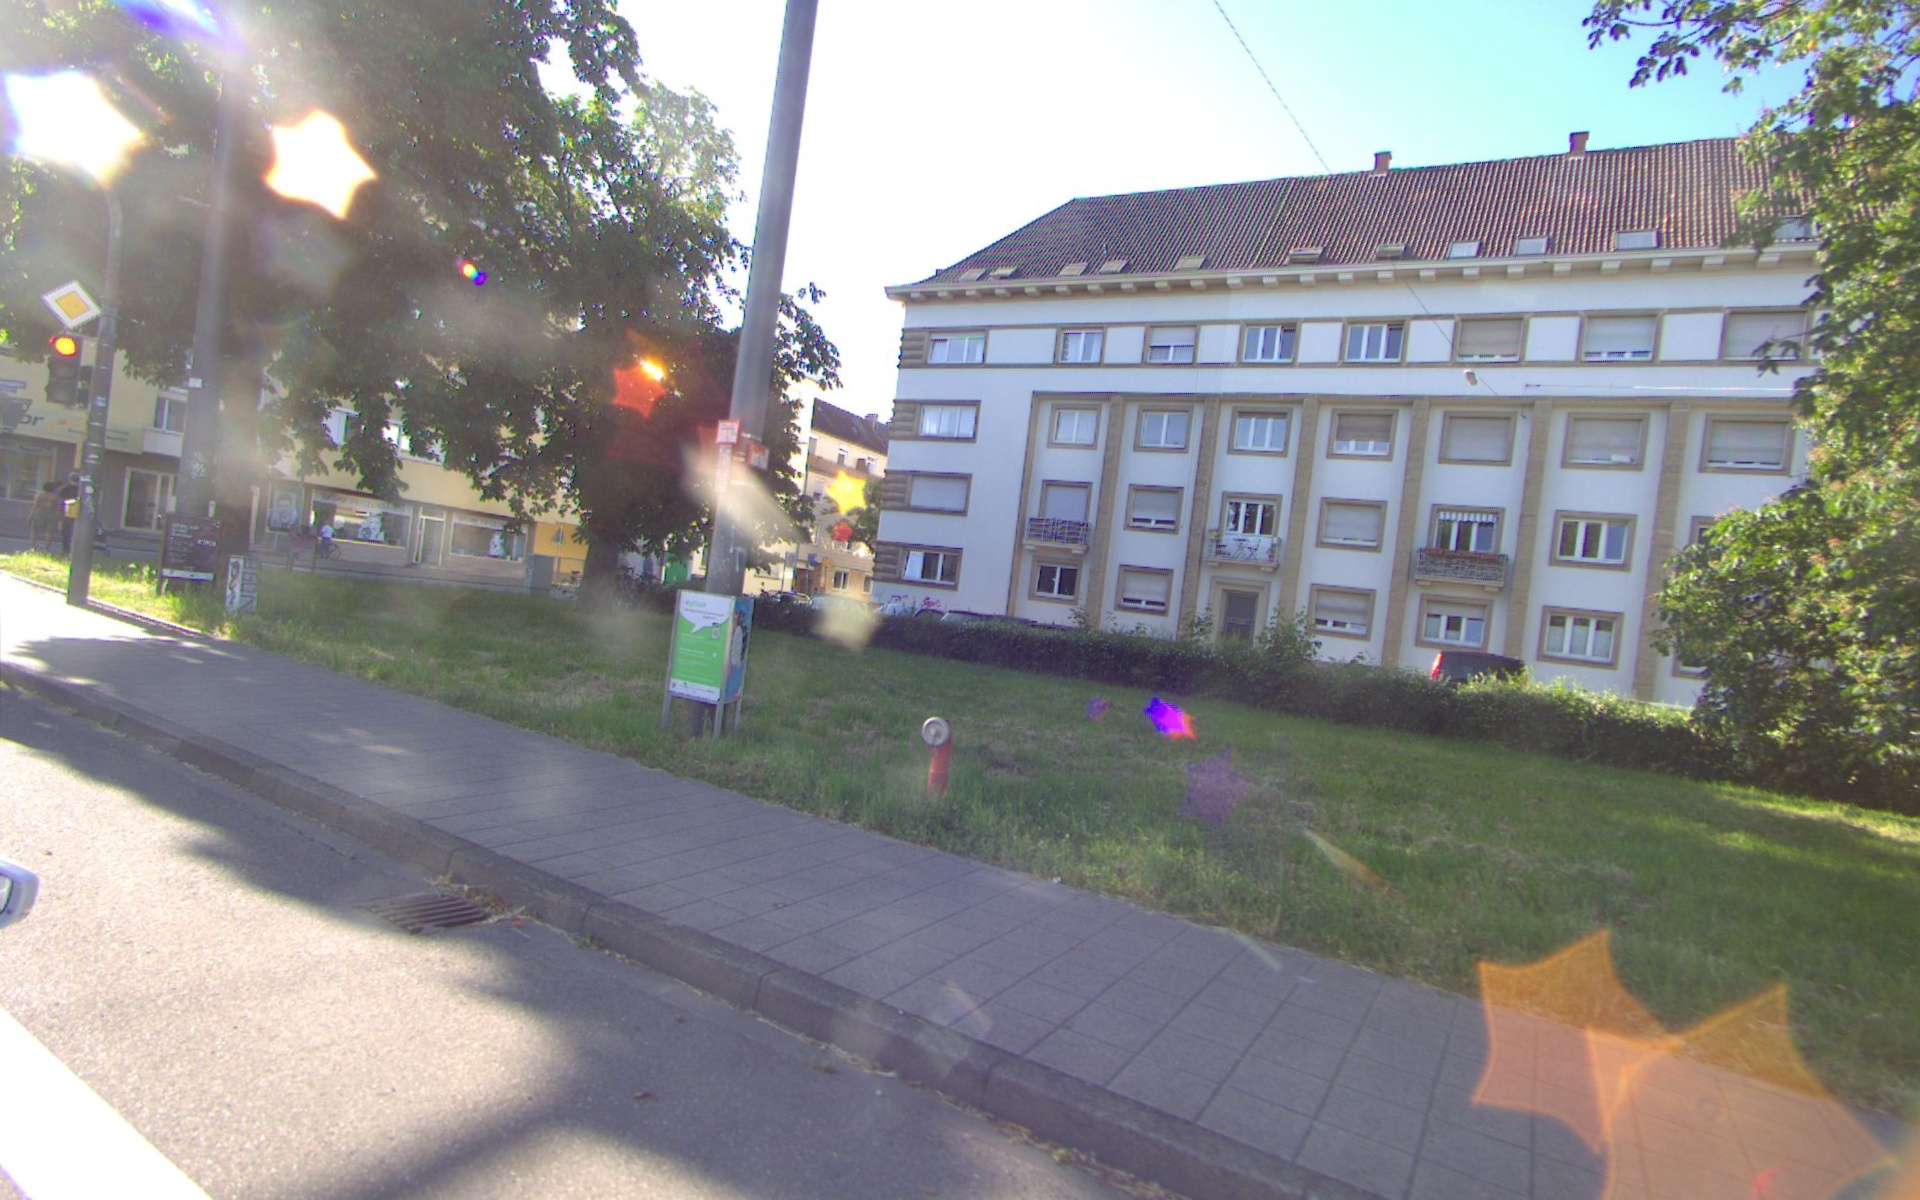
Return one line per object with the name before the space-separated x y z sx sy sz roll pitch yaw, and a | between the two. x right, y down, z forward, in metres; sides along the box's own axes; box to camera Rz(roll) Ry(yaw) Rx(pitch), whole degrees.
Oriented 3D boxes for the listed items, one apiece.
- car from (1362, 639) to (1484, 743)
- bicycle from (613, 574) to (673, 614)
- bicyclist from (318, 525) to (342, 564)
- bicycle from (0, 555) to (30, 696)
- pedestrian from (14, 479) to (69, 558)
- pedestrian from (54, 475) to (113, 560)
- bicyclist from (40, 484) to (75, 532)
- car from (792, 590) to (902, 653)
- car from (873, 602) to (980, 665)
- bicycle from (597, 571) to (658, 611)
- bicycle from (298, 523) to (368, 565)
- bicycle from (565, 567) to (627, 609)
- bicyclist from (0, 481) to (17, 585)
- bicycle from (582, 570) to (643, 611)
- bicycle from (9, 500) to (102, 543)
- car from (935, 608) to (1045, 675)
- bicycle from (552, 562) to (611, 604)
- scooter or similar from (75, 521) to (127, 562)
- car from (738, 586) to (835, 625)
car | 10.059 2.032 21.698 1.739 1.813 3.997 7 -3 32
bicycle | -10.435 -0.216 33.110 1.973 1.046 0.598 7 -2 31
bicyclist | -27.138 -2.377 43.319 0.456 1.585 0.528 8 -2 29
bicycle | -7.771 0.086 7.574 1.775 0.983 0.649 7 -2 34
pedestrian | -19.320 -1.717 21.165 0.489 1.539 0.646 7 -2 44
pedestrian | -18.974 -1.786 21.773 0.525 1.701 0.729 7 -2 44
bicyclist | -30.410 -3.104 33.916 0.765 1.490 0.887 6 2 -42
car | -3.371 0.688 30.539 1.549 1.547 3.254 7 0 29
car | -0.928 1.014 29.600 1.549 1.547 3.254 7 0 29
bicycle | -10.765 -0.295 32.566 1.973 1.046 0.598 7 -2 31
bicycle | -27.377 -2.435 43.991 0.598 1.415 2.477 7 -3 30
bicycle | -11.386 -0.387 31.437 1.973 1.046 0.598 7 -2 31
bicyclist | -7.797 -0.306 7.623 0.790 1.338 0.639 7 -2 34
bicycle | -11.077 -0.301 32.011 1.957 1.046 0.598 7 -2 31
bicycle | -30.502 -2.641 33.956 2.246 1.000 0.778 9 4 -44
car | 0.881 1.179 27.721 1.549 1.547 3.254 7 0 29
bicycle | -11.616 -0.529 30.830 1.766 1.046 0.598 7 -2 31
scooter or similar | -18.425 -1.255 21.580 0.670 0.746 0.599 7 -2 31
car | -10.239 0.323 59.452 5.062 1.513 2.208 9 1 -35
